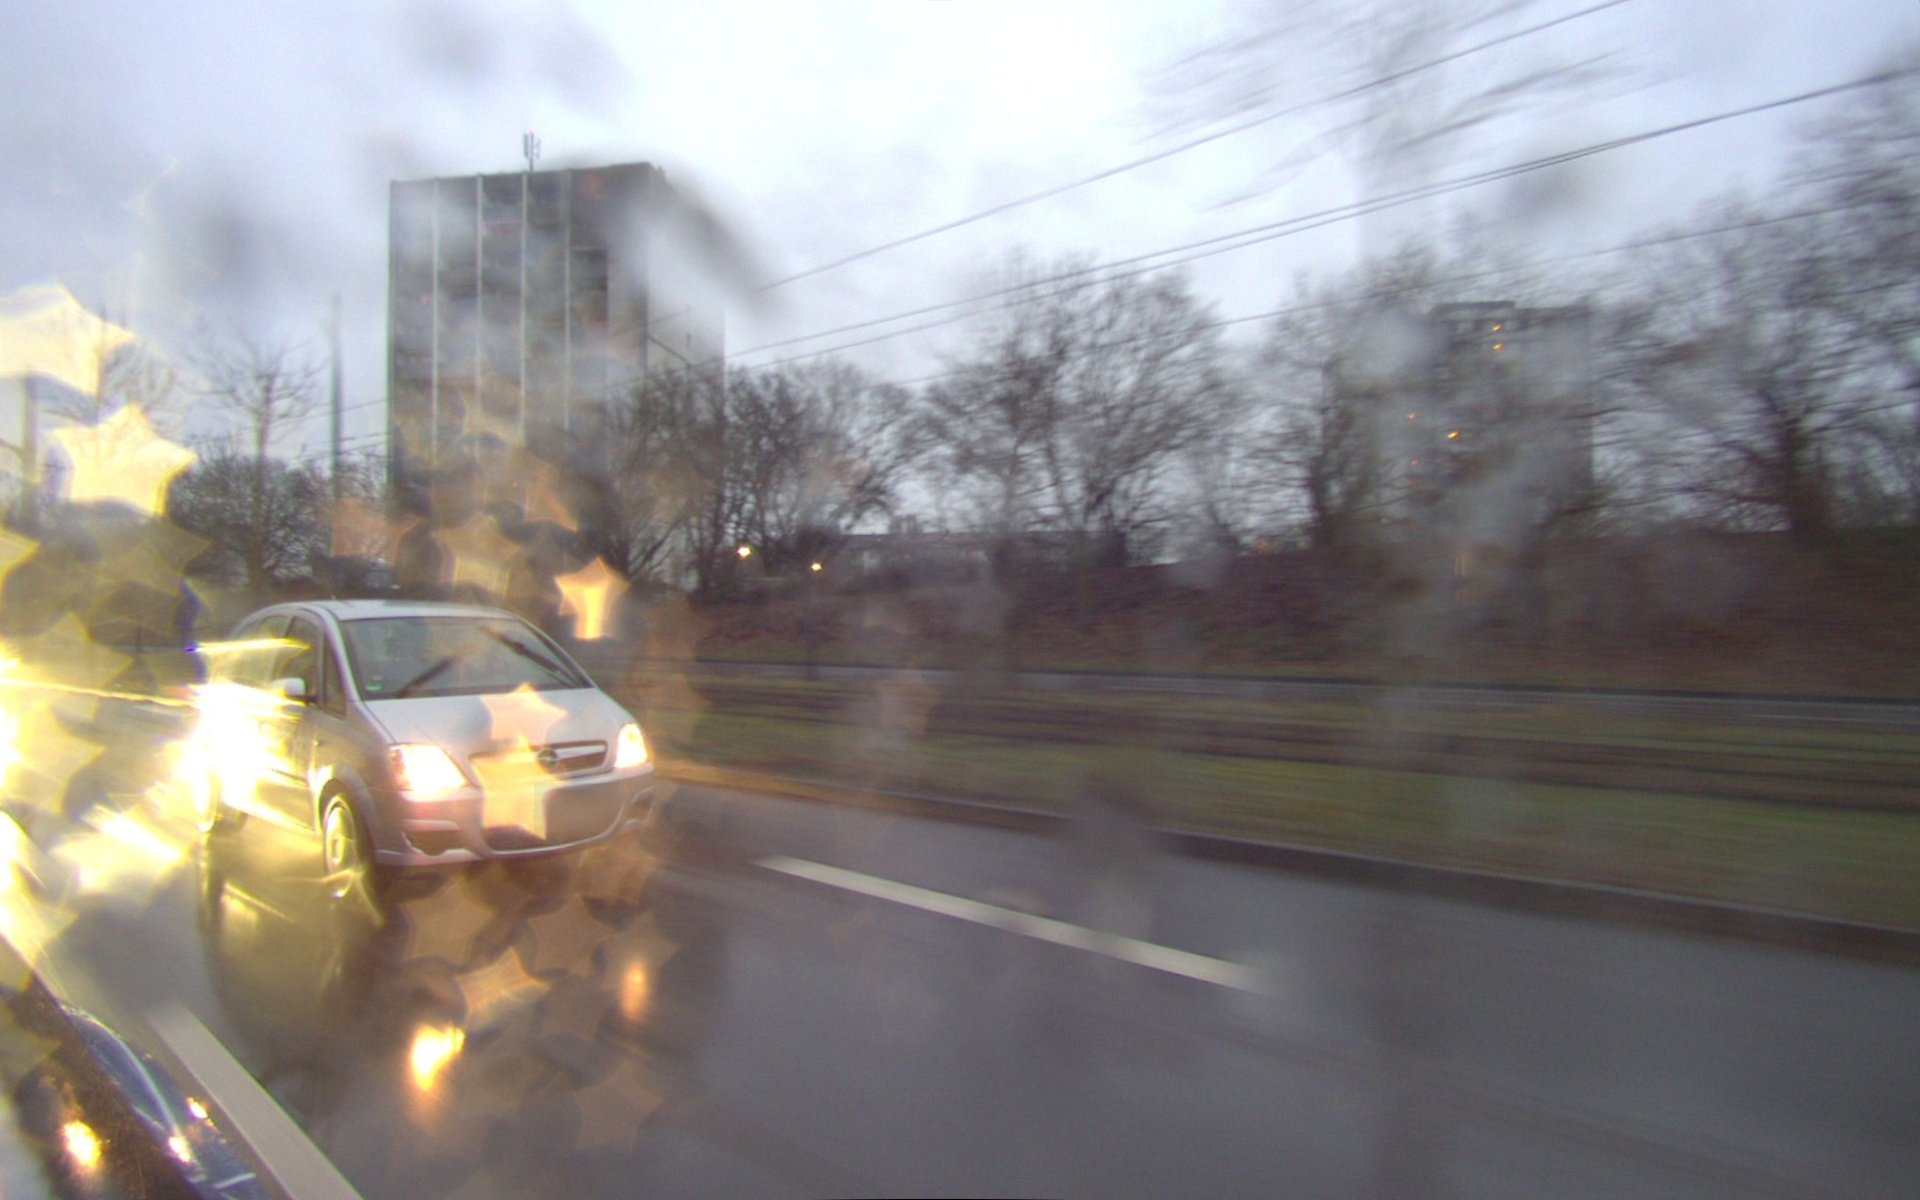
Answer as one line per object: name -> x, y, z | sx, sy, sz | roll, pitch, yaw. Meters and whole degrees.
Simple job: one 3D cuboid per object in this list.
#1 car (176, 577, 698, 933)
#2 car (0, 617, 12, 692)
car -> -3.503, 0.727, 6.439 | 3.921, 1.587, 1.648 | -1, -1, 41
car -> -22.227, 1.173, 21.667 | 4.205, 1.567, 1.903 | -1, -1, 33
